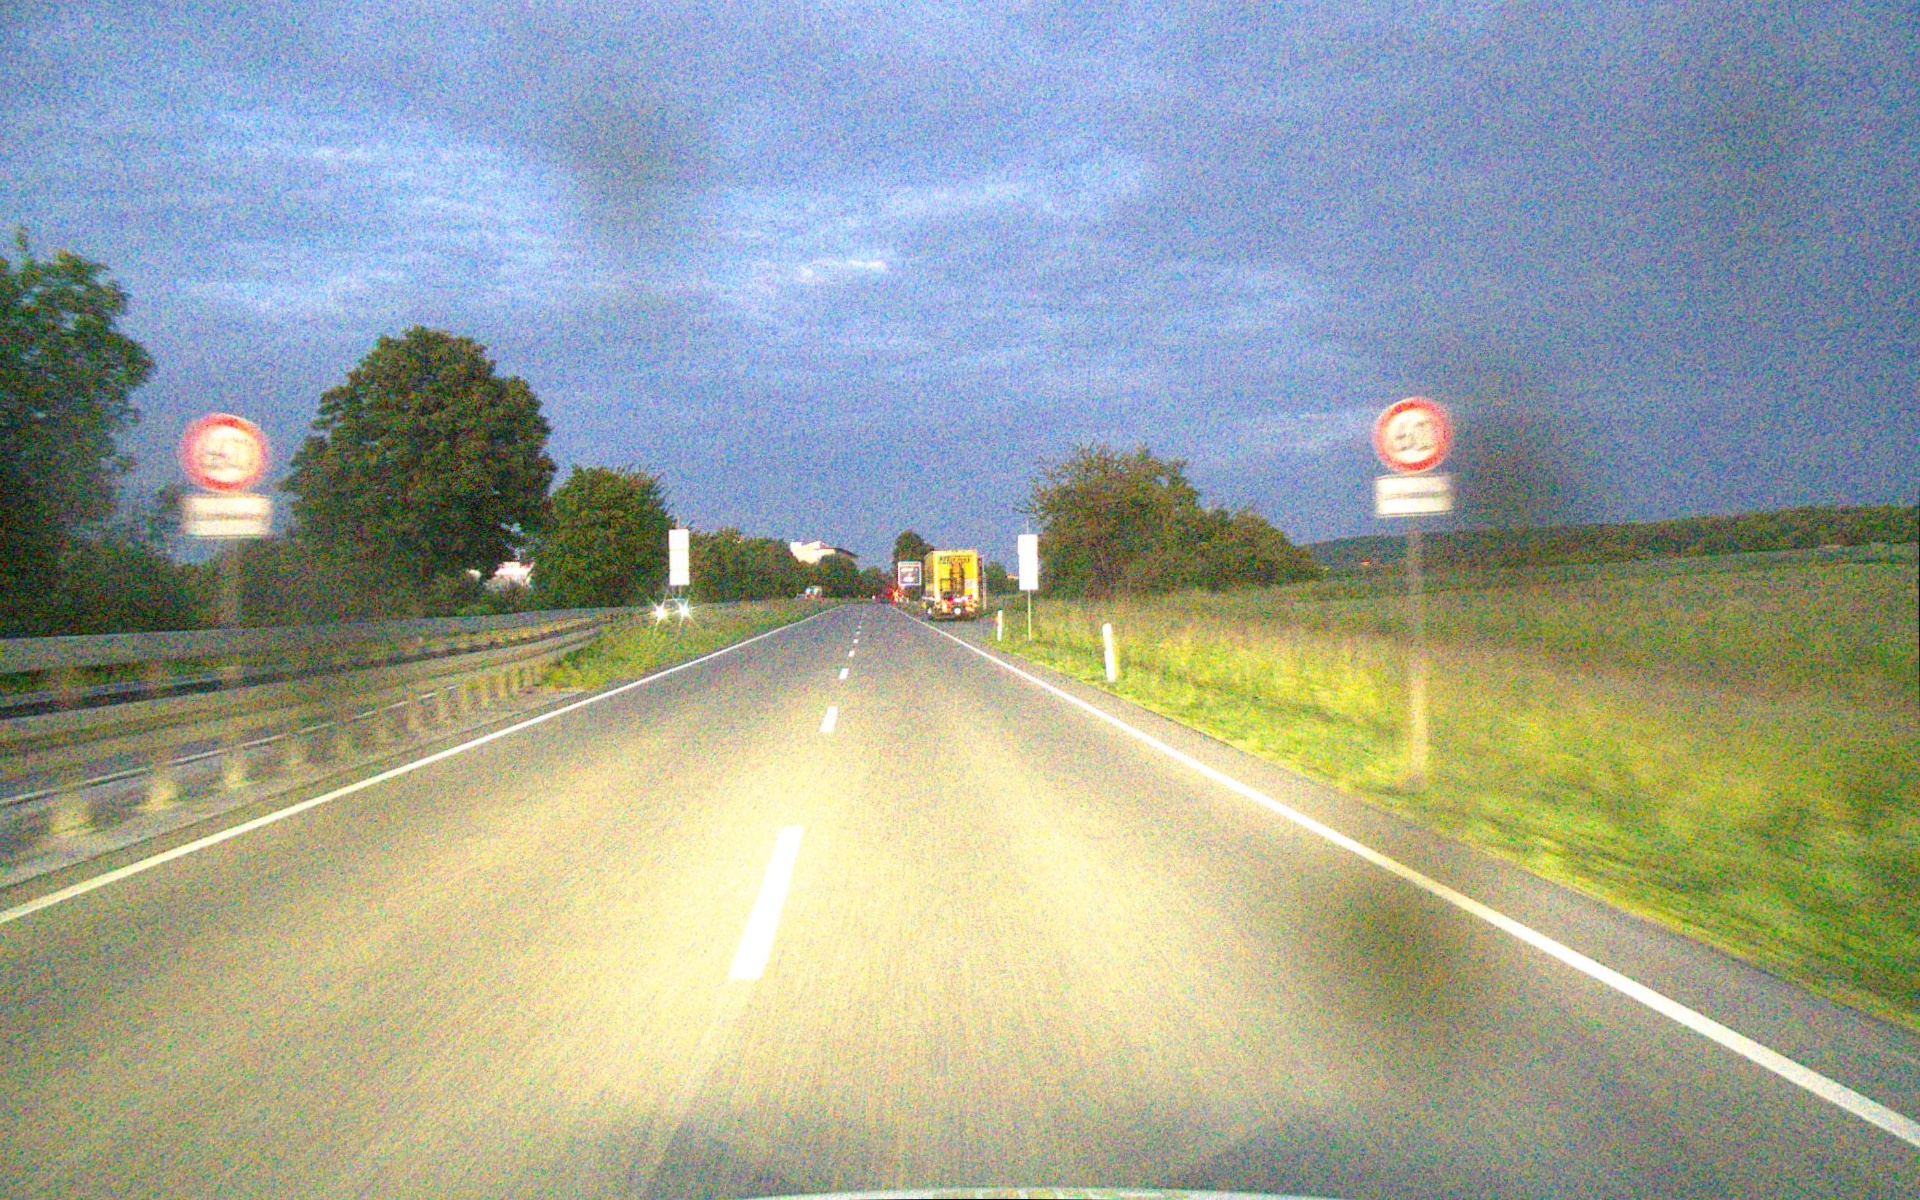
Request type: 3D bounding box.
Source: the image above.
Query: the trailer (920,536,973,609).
[{"bbox_3d":[-0.955,-1.630,102.648,2.570,4.175,12.929,-1,0,-3],"label":"trailer"}]

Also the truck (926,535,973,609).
[{"bbox_3d":[-0.647,-1.600,95.991,2.528,4.142,6.127,0,1,-2],"label":"truck"}]
